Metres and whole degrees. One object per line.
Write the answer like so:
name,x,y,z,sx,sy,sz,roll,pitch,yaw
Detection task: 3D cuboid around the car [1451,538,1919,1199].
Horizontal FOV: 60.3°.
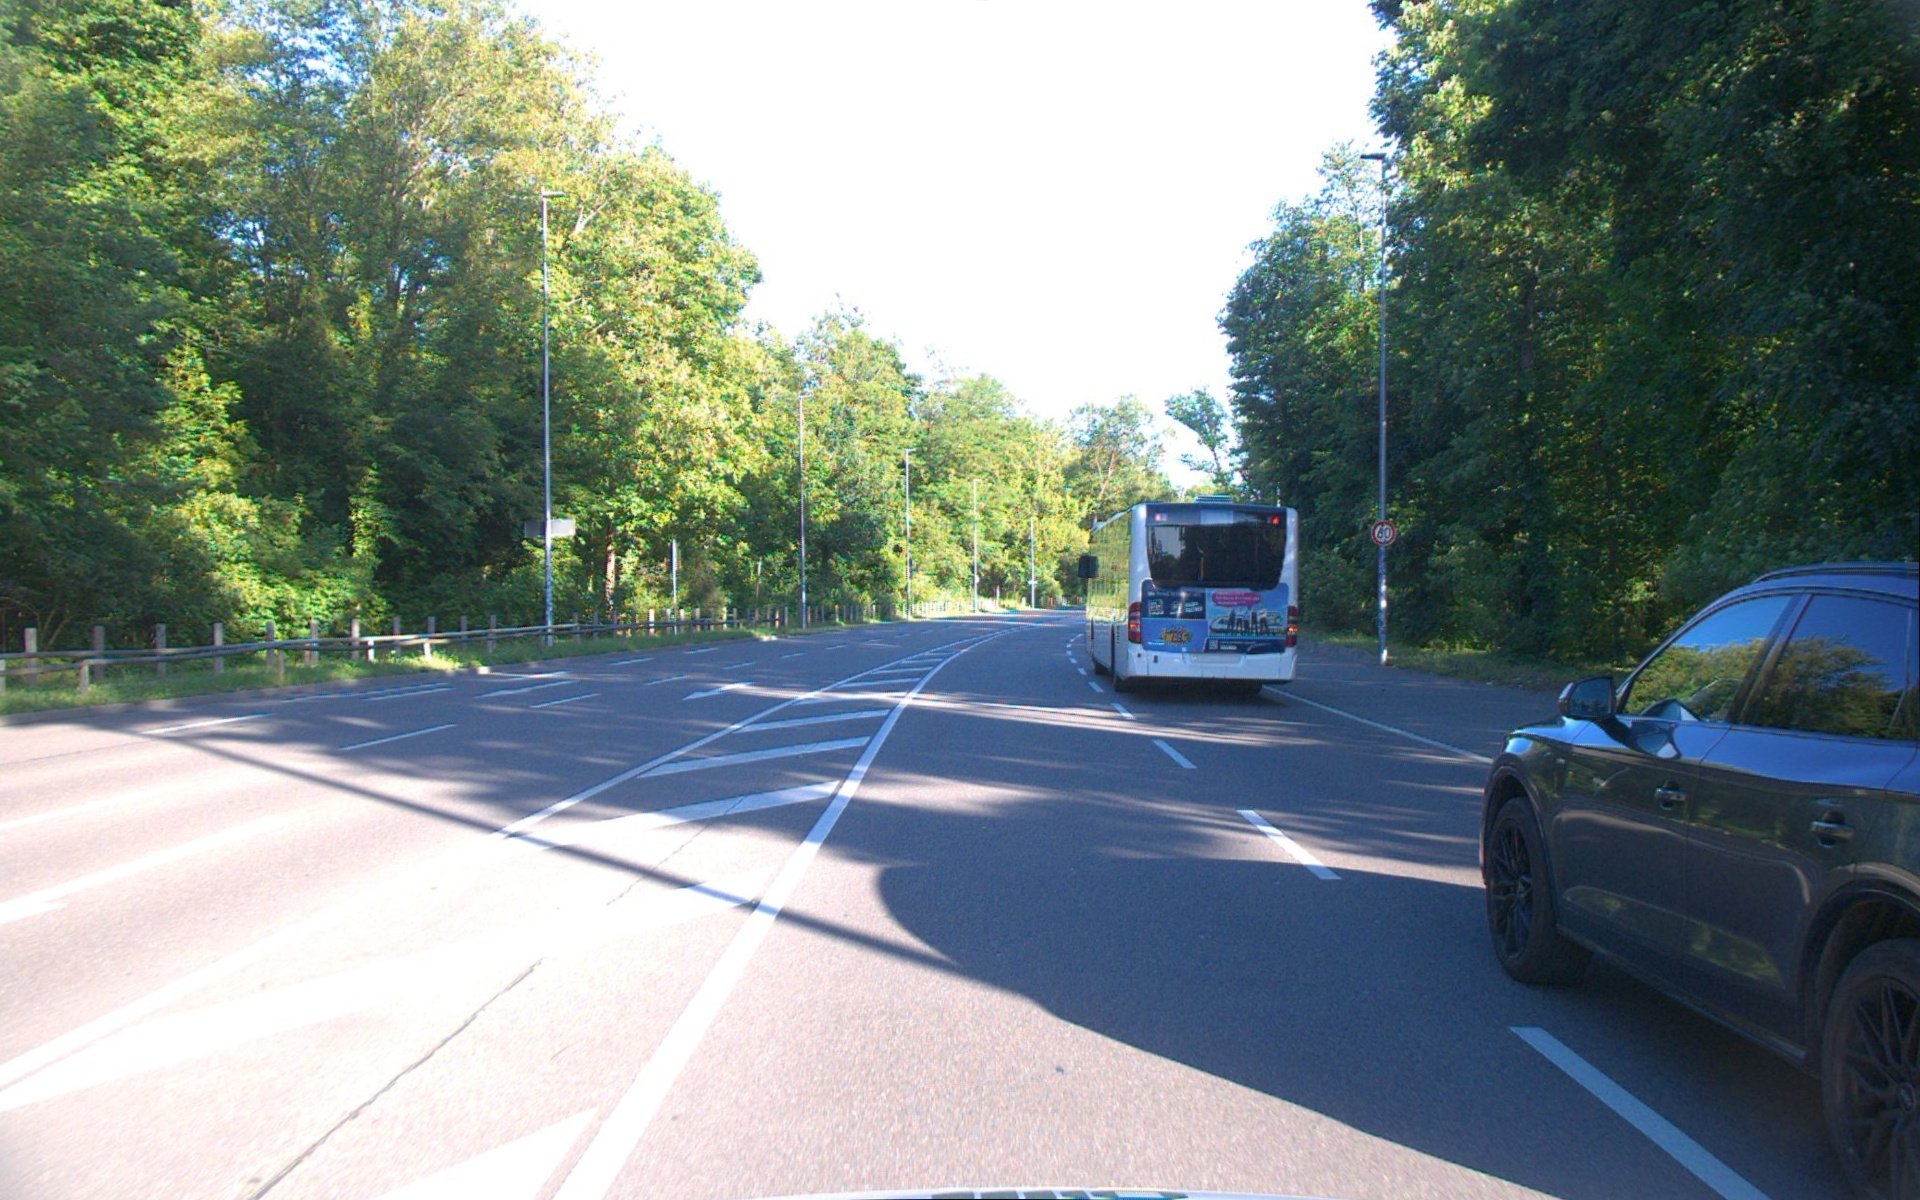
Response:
car,3.177,0.680,5.314,1.854,1.633,4.544,1,0,0

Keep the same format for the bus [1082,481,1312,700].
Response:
bus,3.836,-0.142,29.678,2.634,3.096,12.043,1,0,1
